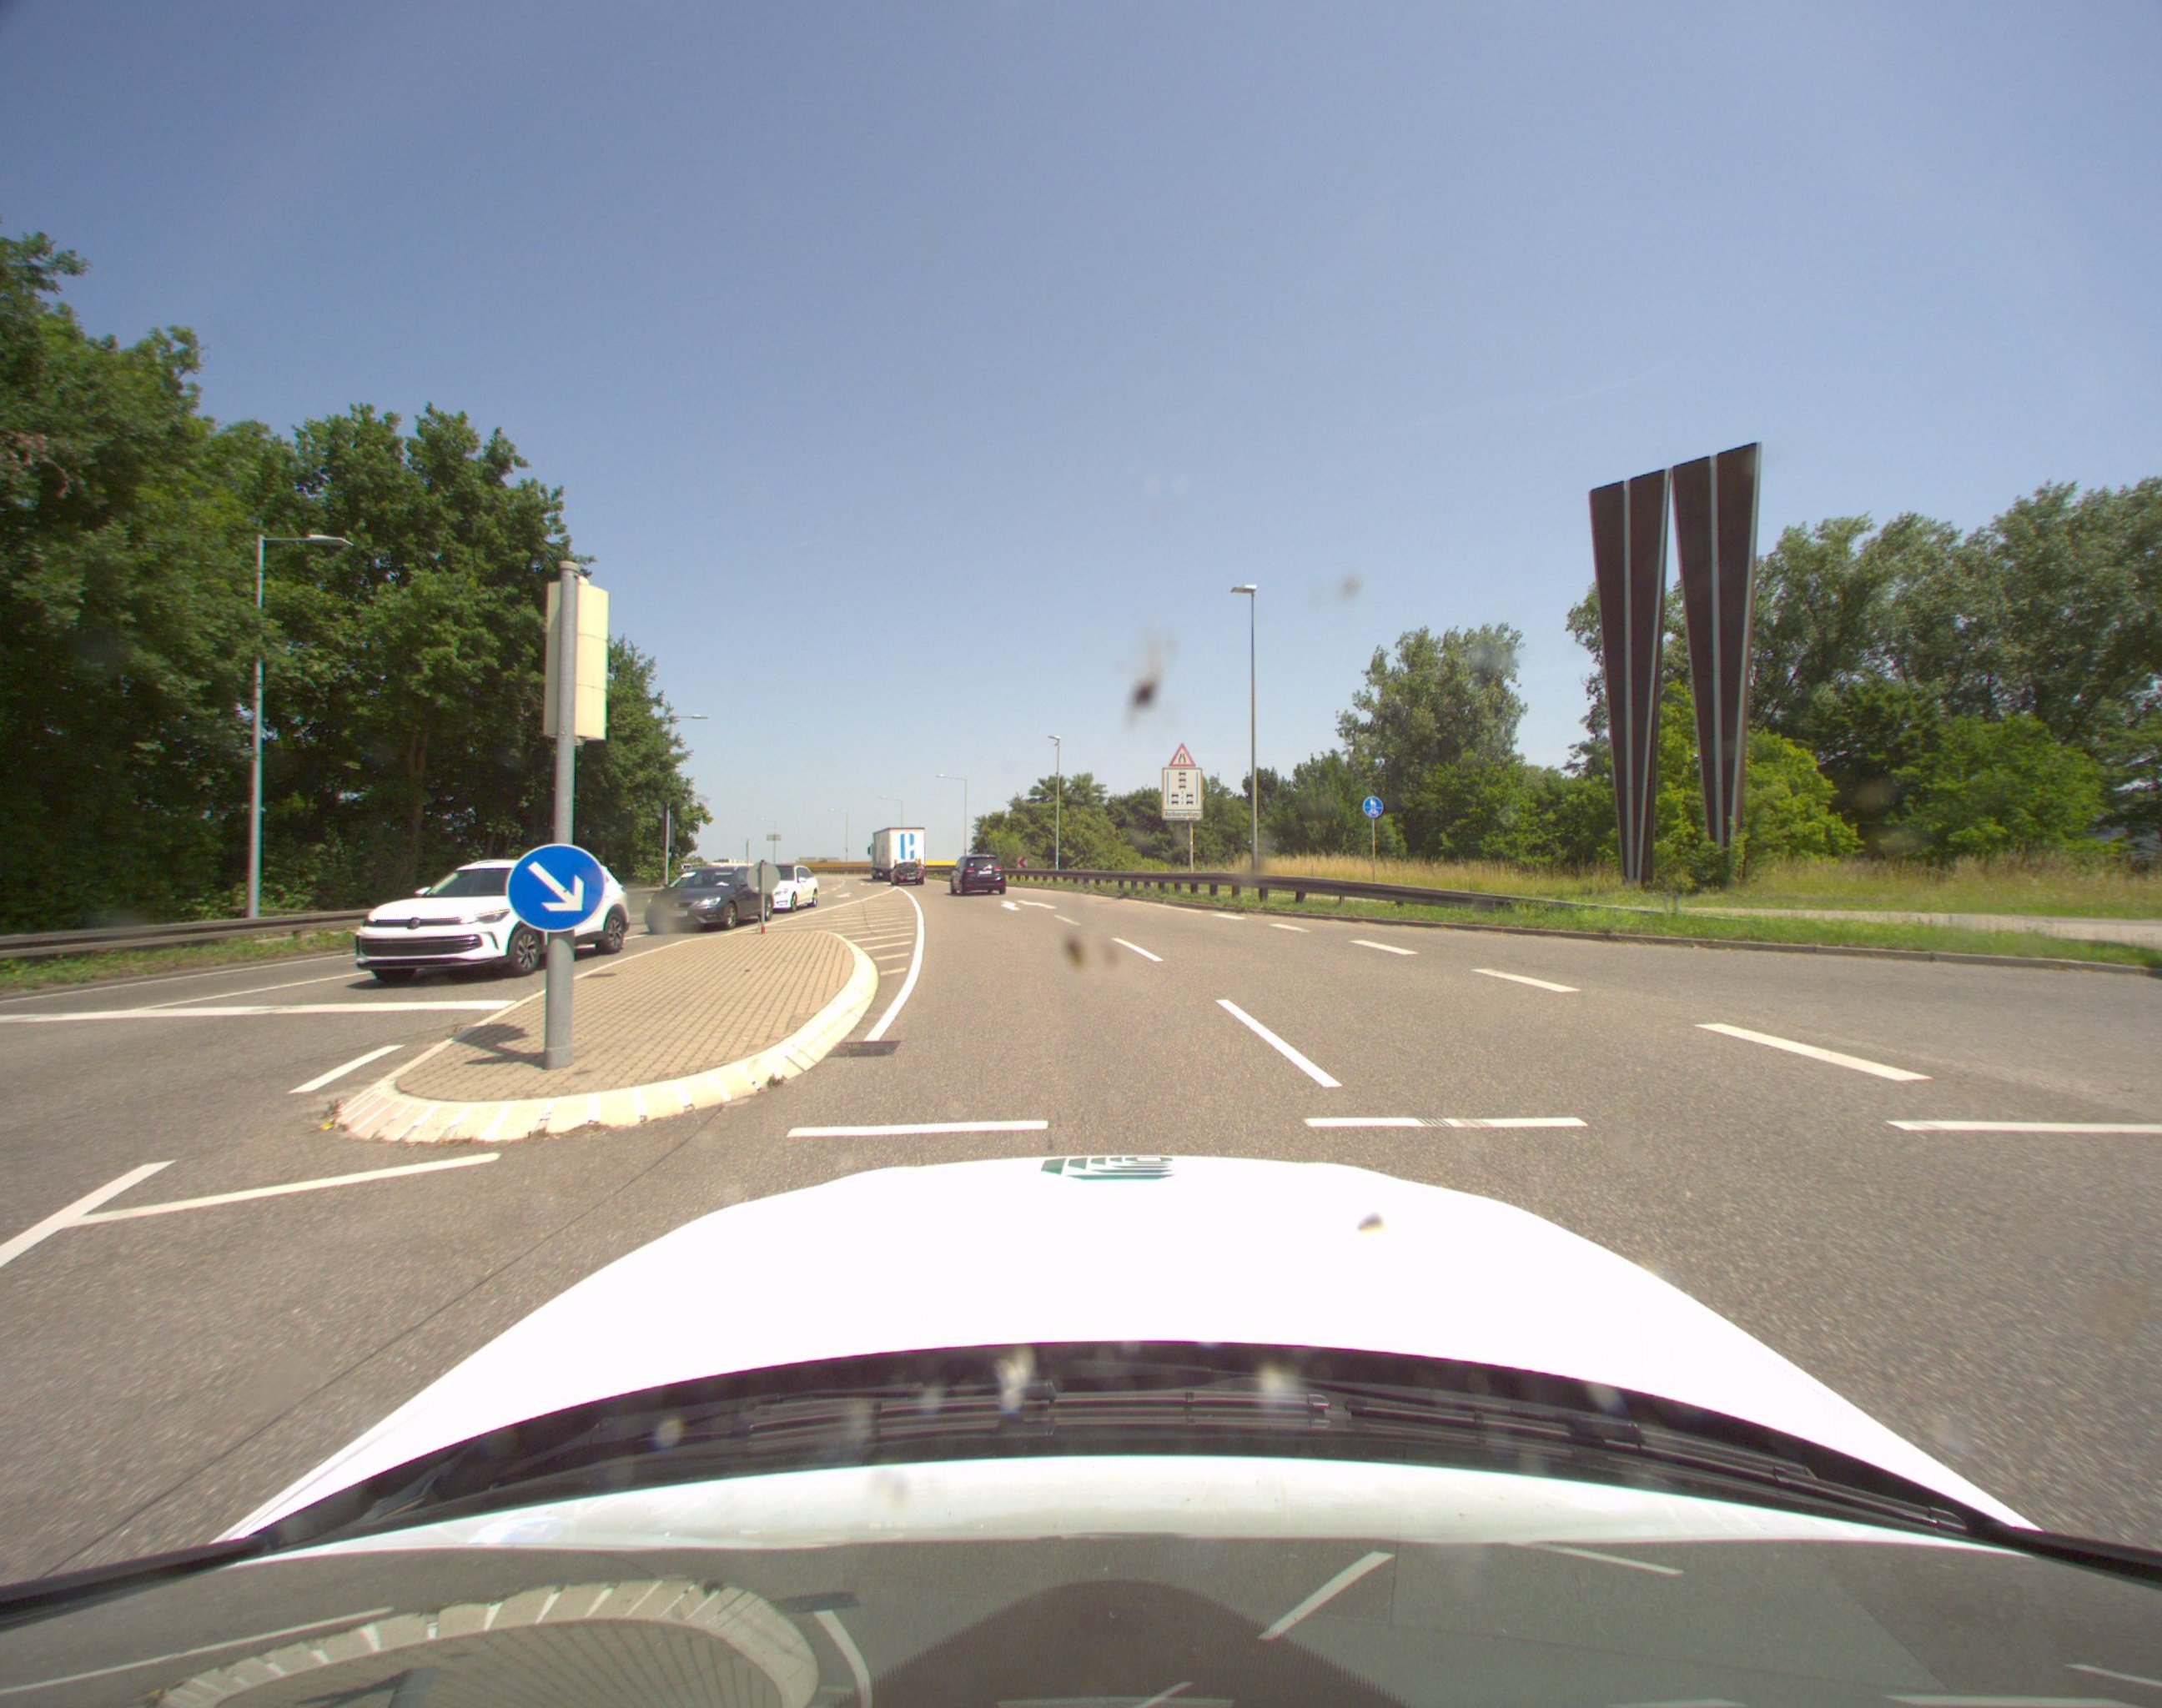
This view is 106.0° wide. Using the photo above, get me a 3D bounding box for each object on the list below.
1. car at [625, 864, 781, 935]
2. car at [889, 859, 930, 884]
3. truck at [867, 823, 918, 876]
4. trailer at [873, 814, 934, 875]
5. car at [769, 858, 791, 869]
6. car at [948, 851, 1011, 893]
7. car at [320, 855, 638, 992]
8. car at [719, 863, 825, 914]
[{"bbox_3d":[-8.733,0.972,19.290,1.824,1.406,4.539,-1,0,-5],"label":"car"},{"bbox_3d":[-10.476,1.028,49.584,2.017,1.429,3.753,0,-1,-18],"label":"car"},{"bbox_3d":[-16.586,-0.348,71.405,3.585,4.441,6.470,0,-1,-20],"label":"truck"},{"bbox_3d":[-14.234,-0.661,64.379,3.580,4.384,11.369,0,-1,-18],"label":"trailer"},{"bbox_3d":[-42.602,1.307,115.196,1.855,1.508,3.592,0,-1,-40],"label":"car"},{"bbox_3d":[-4.147,0.702,32.725,1.926,1.574,3.869,0,-1,-17],"label":"car"},{"bbox_3d":[-8.764,0.885,12.490,1.826,1.639,4.568,-2,0,-6],"label":"car"},{"bbox_3d":[-9.545,1.004,25.589,1.824,1.406,4.880,0,0,-4],"label":"car"}]
